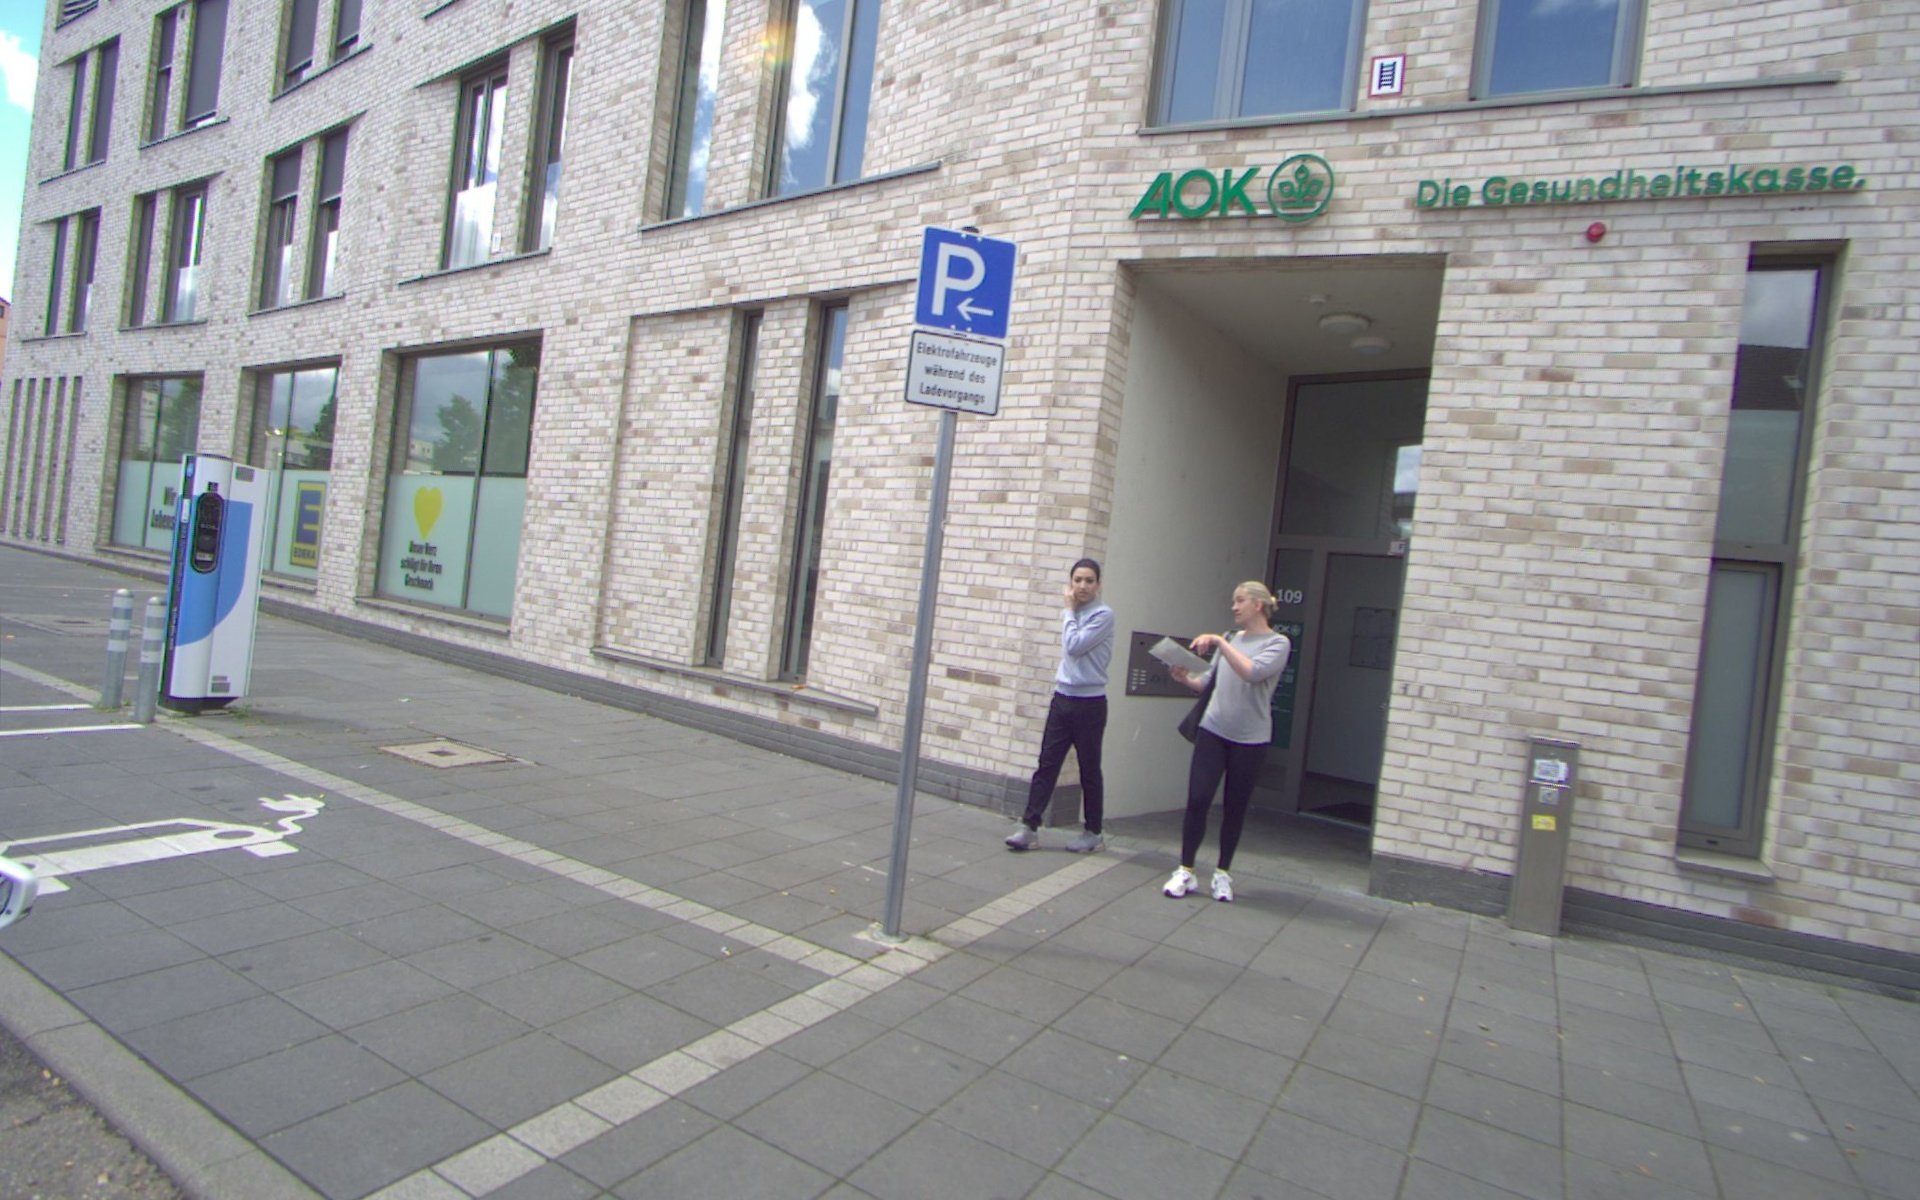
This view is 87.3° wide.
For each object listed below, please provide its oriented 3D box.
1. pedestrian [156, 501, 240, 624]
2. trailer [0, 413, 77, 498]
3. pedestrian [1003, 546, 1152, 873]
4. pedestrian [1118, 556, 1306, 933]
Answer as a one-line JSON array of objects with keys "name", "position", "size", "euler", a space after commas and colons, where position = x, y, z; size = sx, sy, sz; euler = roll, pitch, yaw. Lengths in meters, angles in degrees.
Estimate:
[{"name": "pedestrian", "position": [-9.837, -0.482, 12.983], "size": [0.779, 1.492, 0.606], "euler": [8, 2, 38]}, {"name": "trailer", "position": [-41.124, -6.319, 44.573], "size": [6.078, 3.163, 2.398], "euler": [7, 2, 44]}, {"name": "pedestrian", "position": [0.729, 0.625, 6.068], "size": [0.612, 1.789, 0.737], "euler": [6, 1, 17]}, {"name": "pedestrian", "position": [1.345, 0.715, 5.351], "size": [0.743, 1.789, 0.735], "euler": [6, 1, 16]}]
